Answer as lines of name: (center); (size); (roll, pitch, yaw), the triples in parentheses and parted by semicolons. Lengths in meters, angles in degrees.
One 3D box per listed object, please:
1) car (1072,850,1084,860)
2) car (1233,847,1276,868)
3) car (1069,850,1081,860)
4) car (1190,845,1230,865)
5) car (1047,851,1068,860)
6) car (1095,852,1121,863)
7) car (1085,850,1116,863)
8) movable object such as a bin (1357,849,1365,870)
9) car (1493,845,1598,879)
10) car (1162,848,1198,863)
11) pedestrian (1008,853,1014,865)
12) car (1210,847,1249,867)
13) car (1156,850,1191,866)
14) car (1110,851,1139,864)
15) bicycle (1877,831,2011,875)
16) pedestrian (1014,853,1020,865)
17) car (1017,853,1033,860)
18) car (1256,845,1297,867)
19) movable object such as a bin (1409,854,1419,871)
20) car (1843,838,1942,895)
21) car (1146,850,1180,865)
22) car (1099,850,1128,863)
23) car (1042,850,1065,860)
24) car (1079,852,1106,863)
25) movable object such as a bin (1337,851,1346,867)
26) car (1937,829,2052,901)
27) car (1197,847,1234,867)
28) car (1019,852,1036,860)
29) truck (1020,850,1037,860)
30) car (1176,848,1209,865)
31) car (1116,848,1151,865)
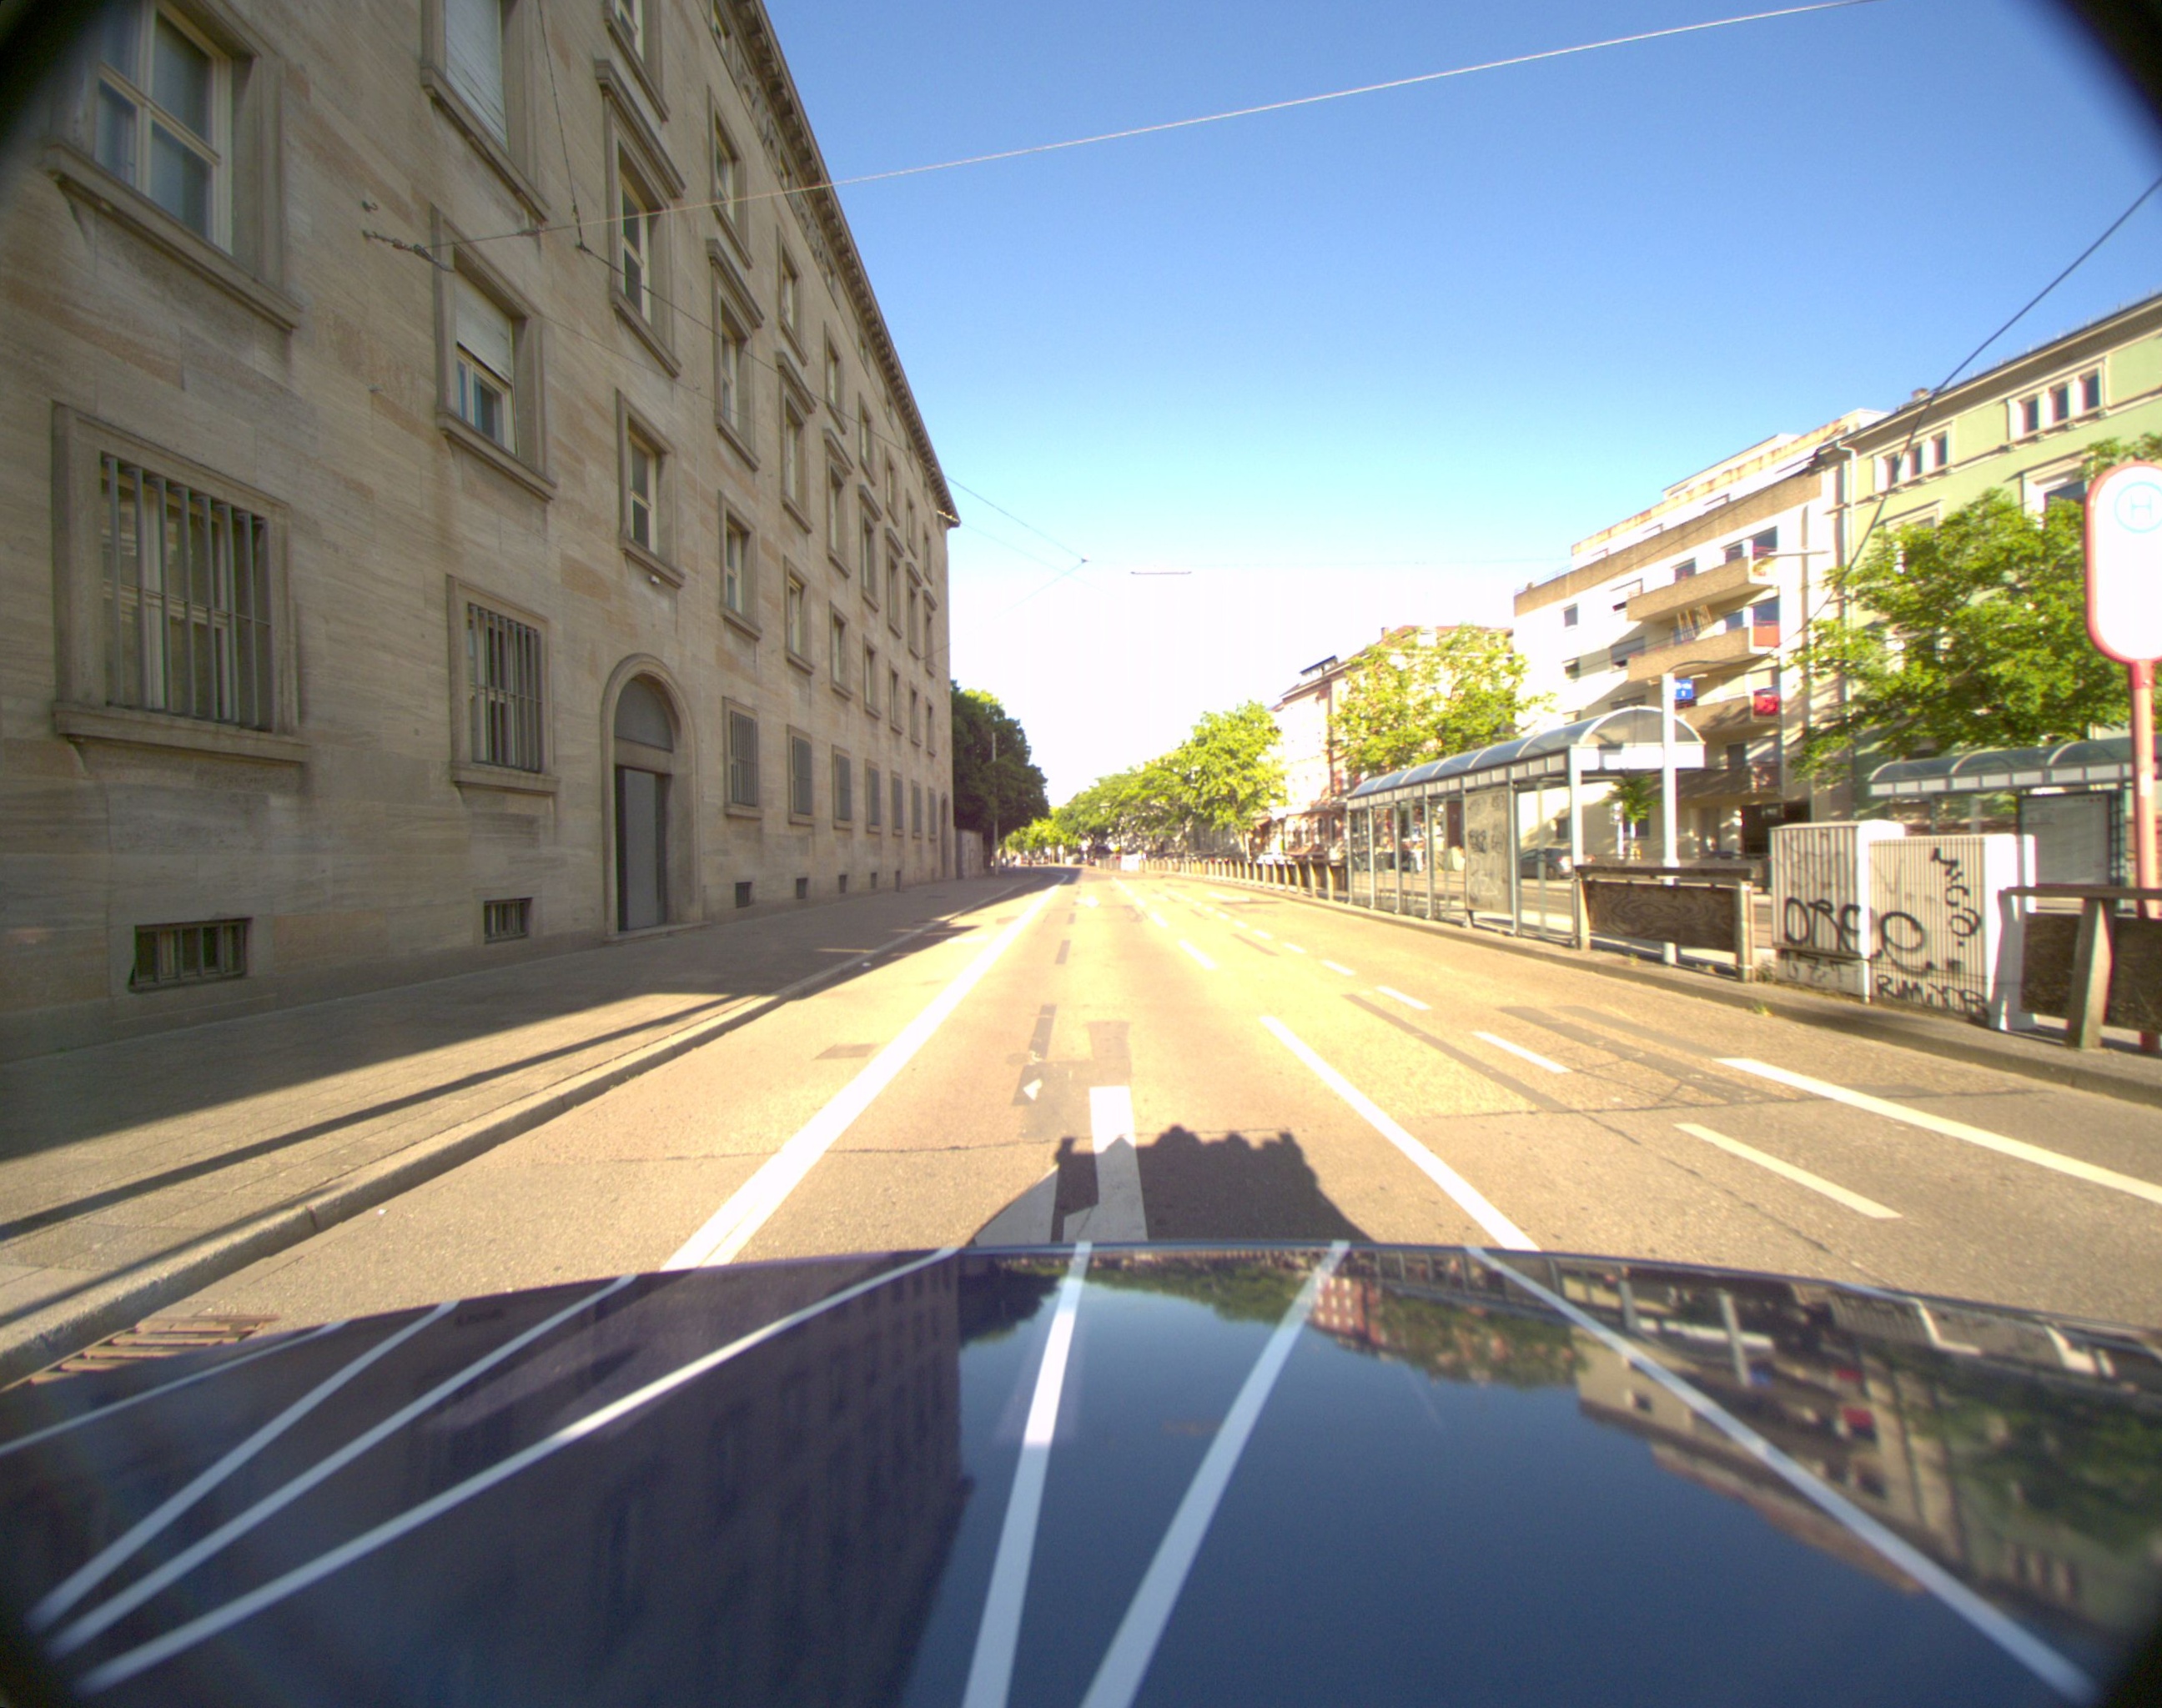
car: (-0.583, 0.204, 141.992); (1.673, 1.886, 3.211); (-1, 0, -12)
car: (15.254, 0.304, 66.576); (3.929, 1.499, 1.685); (-5, 1, -43)
car: (-1.243, 0.203, 146.320); (1.673, 1.886, 3.211); (-1, 0, -12)
car: (13.109, 0.102, 77.277); (4.293, 1.713, 1.703); (-6, 3, -43)
car: (-4.887, 0.320, 158.125); (4.105, 1.561, 1.670); (-4, 1, -18)
car: (4.031, 0.521, 114.234); (1.744, 1.511, 3.772); (-2, 2, 44)
car: (2.935, 0.413, 116.215); (4.366, 1.704, 1.944); (-4, 2, -35)
movable object such as a bin: (18.881, 0.375, 51.276); (0.380, 1.418, 0.386); (-1, 1, 0)
car: (20.812, 0.329, 34.255); (1.711, 1.402, 4.289); (-1, 0, -8)
car: (10.972, 0.178, 83.940); (3.829, 1.477, 1.766); (-4, 2, -41)
pedestrian: (-10.149, 0.679, 110.013); (0.831, 1.710, 0.804); (-1, 1, -6)
car: (13.985, 0.260, 71.408); (1.630, 1.607, 3.993); (-2, 1, 43)
car: (10.561, 0.449, 87.043); (3.877, 1.645, 1.768); (-4, 2, -41)
car: (6.293, 0.528, 109.043); (4.208, 1.549, 1.636); (-4, 1, -41)
bicycle: (29.186, -0.022, 25.795); (0.719, 1.390, 3.007); (-1, 0, -14)
pedestrian: (-9.266, 0.682, 109.649); (0.872, 1.710, 0.804); (-1, 1, -3)
car: (-14.511, 0.615, 197.164); (3.775, 1.584, 1.670); (-4, 1, -18)
car: (16.403, 0.167, 63.629); (1.731, 1.513, 3.923); (-3, 1, 41)
movable object such as a bin: (21.393, 0.524, 48.773); (0.380, 1.090, 0.552); (-1, 2, -6)
car: (24.100, 0.314, 22.693); (4.524, 1.417, 1.868); (-4, 2, -45)
car: (9.810, 0.385, 90.403); (3.877, 1.645, 1.768); (-4, 2, -41)
car: (4.866, 0.386, 112.048); (4.208, 1.714, 1.780); (-5, 2, -44)
car: (-5.836, 0.206, 161.013); (4.311, 1.940, 1.670); (-4, 1, -18)
car: (1.759, 0.523, 118.485); (4.007, 1.478, 1.777); (-4, 2, -44)
movable object such as a bin: (17.929, 0.339, 52.318); (0.380, 1.062, 0.639); (-1, 1, 0)
car: (24.381, 0.221, 20.421); (4.524, 1.632, 1.585); (-4, 2, -45)
car: (13.140, 0.275, 74.107); (1.630, 1.607, 3.993); (-2, 1, 43)
car: (-13.601, 0.516, 193.646); (3.775, 1.584, 1.670); (-4, 1, -18)
truck: (-13.129, 0.204, 190.819); (3.774, 2.409, 1.671); (-4, 1, -13)
car: (11.932, 0.253, 81.168); (3.286, 1.524, 1.703); (-6, 2, -43)
car: (6.569, 0.318, 94.433); (4.208, 1.788, 1.781); (-5, 3, -41)
